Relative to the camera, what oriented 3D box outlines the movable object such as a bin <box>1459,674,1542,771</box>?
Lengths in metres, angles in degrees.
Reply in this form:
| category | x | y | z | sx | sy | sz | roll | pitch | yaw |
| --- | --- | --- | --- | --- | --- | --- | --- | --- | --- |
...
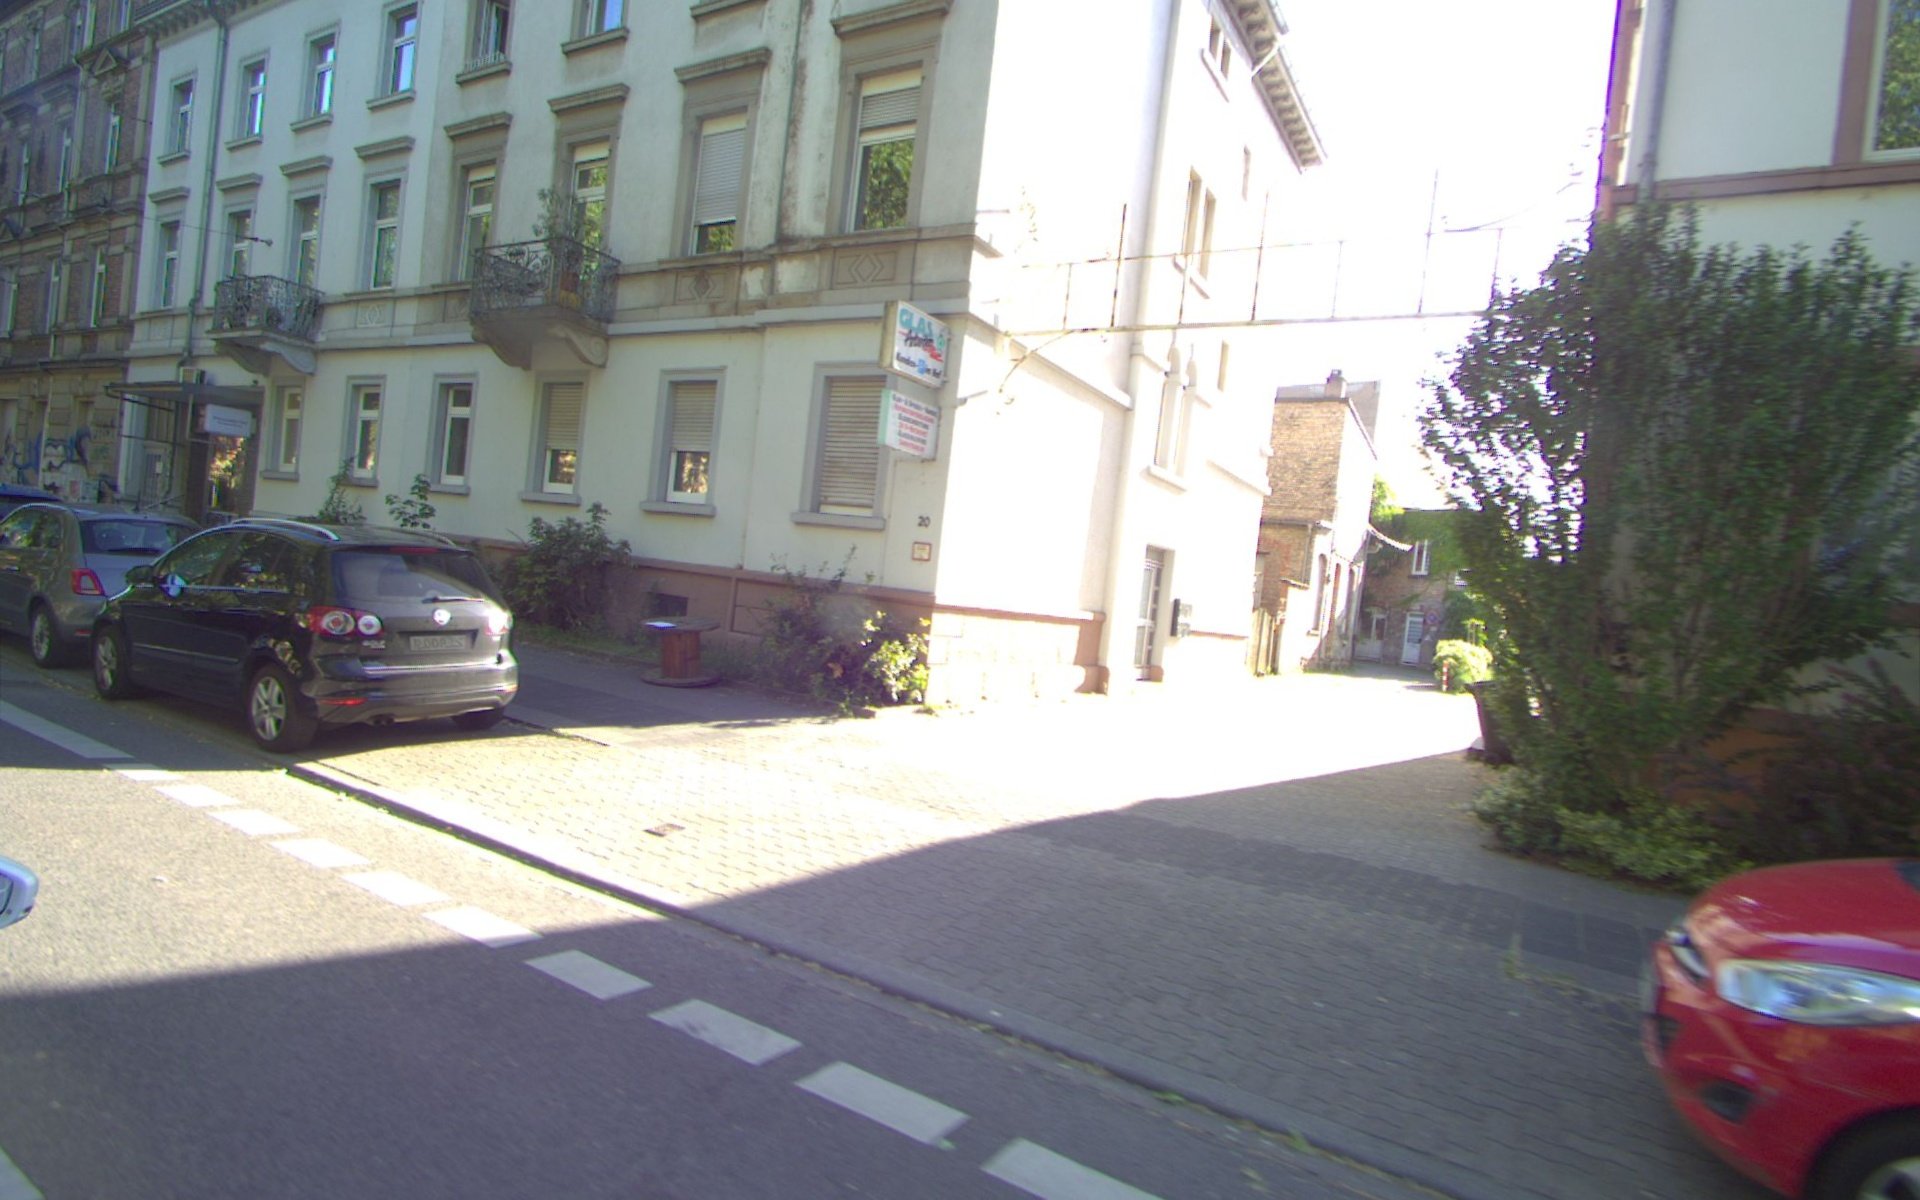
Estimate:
| category | x | y | z | sx | sy | sz | roll | pitch | yaw |
| --- | --- | --- | --- | --- | --- | --- | --- | --- | --- |
| movable object such as a bin | 6.484 | 1.449 | 12.072 | 0.781 | 1.039 | 0.629 | 5 | 0 | 30 |

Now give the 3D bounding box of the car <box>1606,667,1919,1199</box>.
| category | x | y | z | sx | sy | sz | roll | pitch | yaw |
| --- | --- | --- | --- | --- | --- | --- | --- | --- | --- |
| car | 3.851 | 1.197 | 2.601 | 3.517 | 1.567 | 1.634 | 7 | 2 | 33 |

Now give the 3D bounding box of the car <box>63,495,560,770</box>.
| category | x | y | z | sx | sy | sz | roll | pitch | yaw |
| --- | --- | --- | --- | --- | --- | --- | --- | --- | --- |
| car | -5.381 | 0.111 | 8.264 | 3.866 | 1.608 | 1.879 | 6 | 4 | 30 |

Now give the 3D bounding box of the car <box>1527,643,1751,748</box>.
| category | x | y | z | sx | sy | sz | roll | pitch | yaw |
| --- | --- | --- | --- | --- | --- | --- | --- | --- | --- |
| car | 13.702 | 1.871 | 20.508 | 3.517 | 1.567 | 1.619 | 7 | 2 | 33 |

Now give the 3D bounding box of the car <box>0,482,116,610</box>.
| category | x | y | z | sx | sy | sz | roll | pitch | yaw |
| --- | --- | --- | --- | --- | --- | --- | --- | --- | --- |
| car | -12.862 | -0.801 | 13.050 | 3.960 | 1.477 | 1.878 | 7 | 4 | 33 |

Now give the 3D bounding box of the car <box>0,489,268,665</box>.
| category | x | y | z | sx | sy | sz | roll | pitch | yaw |
| --- | --- | --- | --- | --- | --- | --- | --- | --- | --- |
| car | -9.211 | -0.335 | 10.593 | 3.705 | 1.477 | 1.798 | 7 | 4 | 31 |
